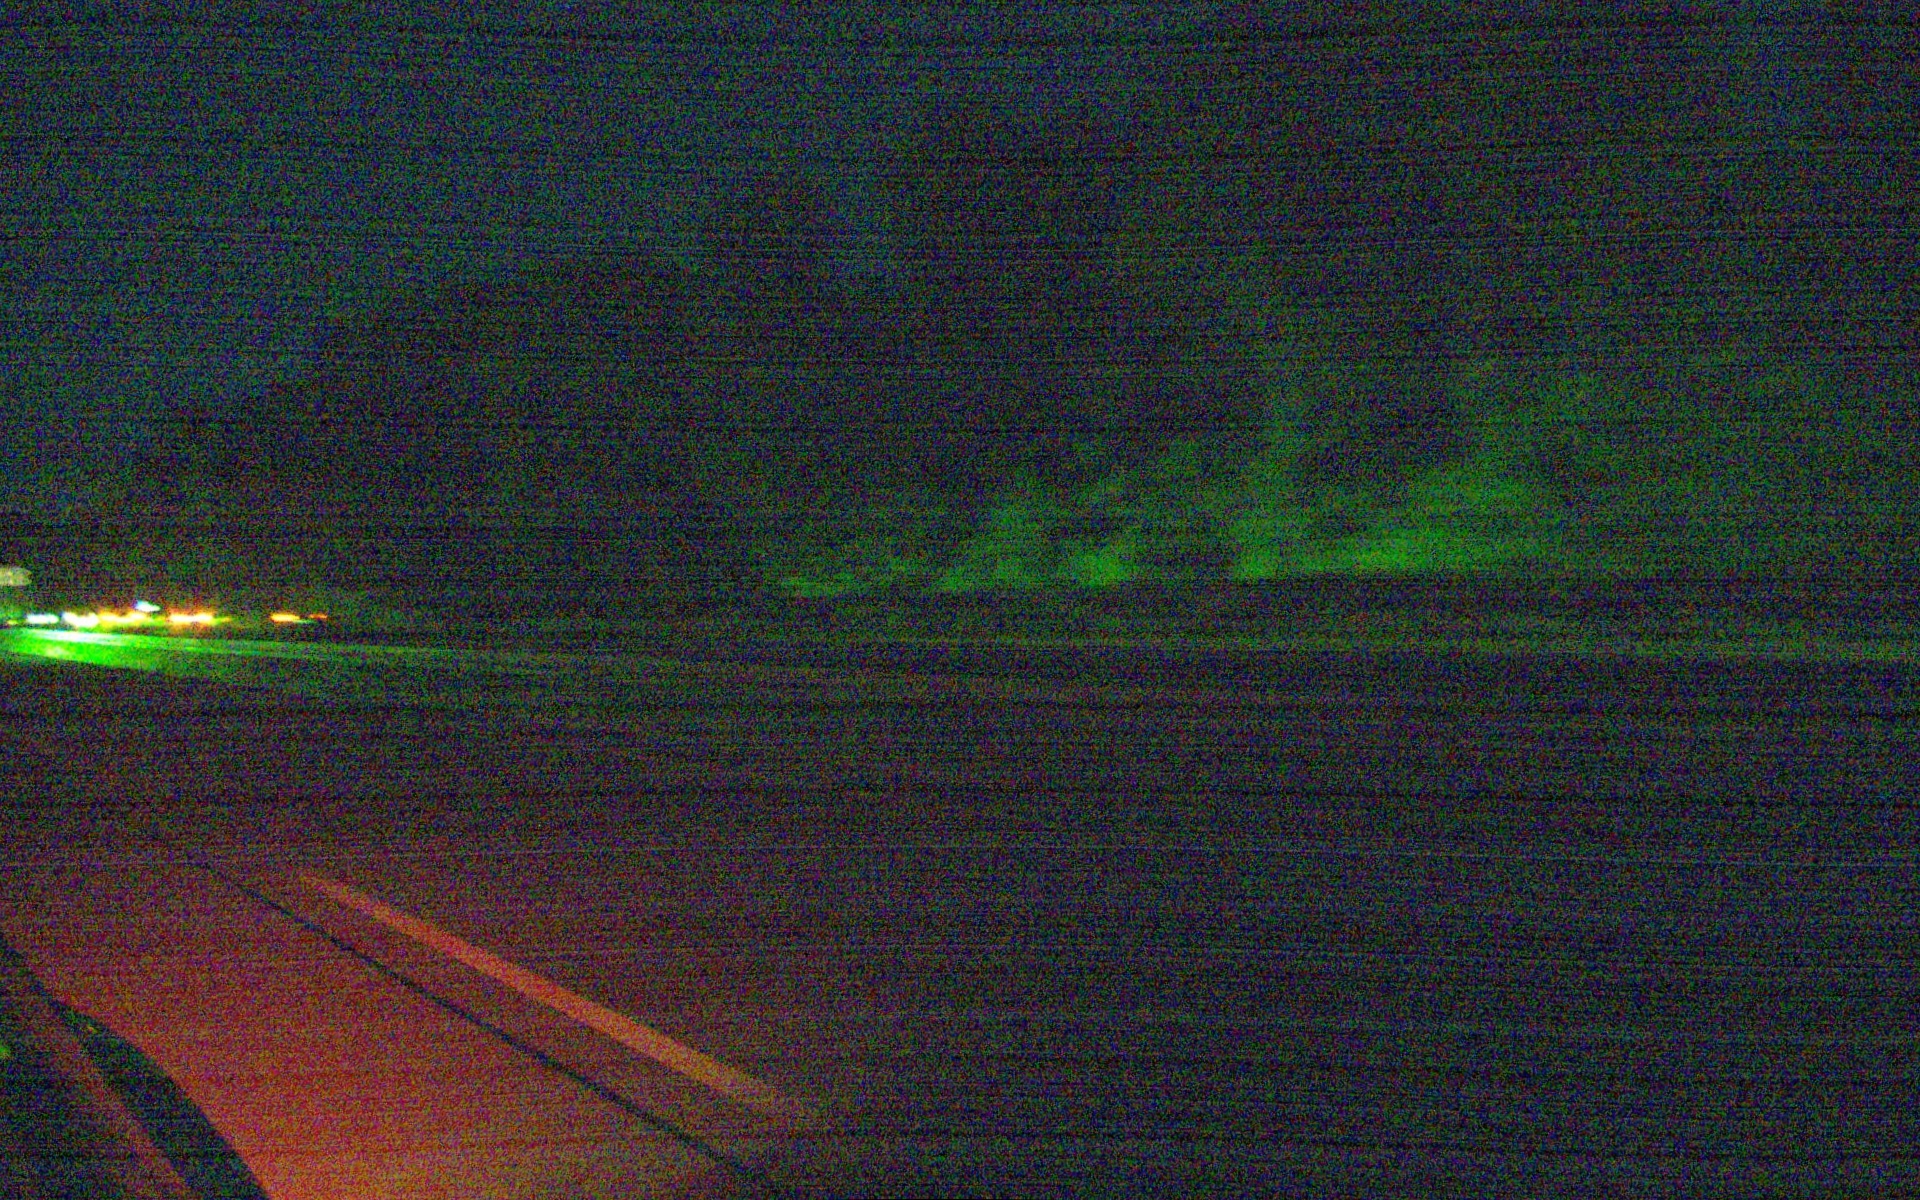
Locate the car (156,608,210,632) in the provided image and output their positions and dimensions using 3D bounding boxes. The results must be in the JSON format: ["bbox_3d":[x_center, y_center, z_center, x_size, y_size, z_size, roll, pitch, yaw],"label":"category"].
[{"bbox_3d":[-52.327,1.332,68.143,4.839,1.421,1.754,-1,3,39],"label":"car"}]

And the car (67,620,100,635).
[{"bbox_3d":[-88.820,2.773,102.557,4.168,1.468,1.937,-2,0,42],"label":"car"}]

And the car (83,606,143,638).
[{"bbox_3d":[-48.887,1.274,58.381,5.077,1.746,1.937,-2,0,42],"label":"car"}]

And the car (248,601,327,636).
[{"bbox_3d":[-30.632,0.836,46.081,4.335,1.468,1.937,-2,0,42],"label":"car"}]
